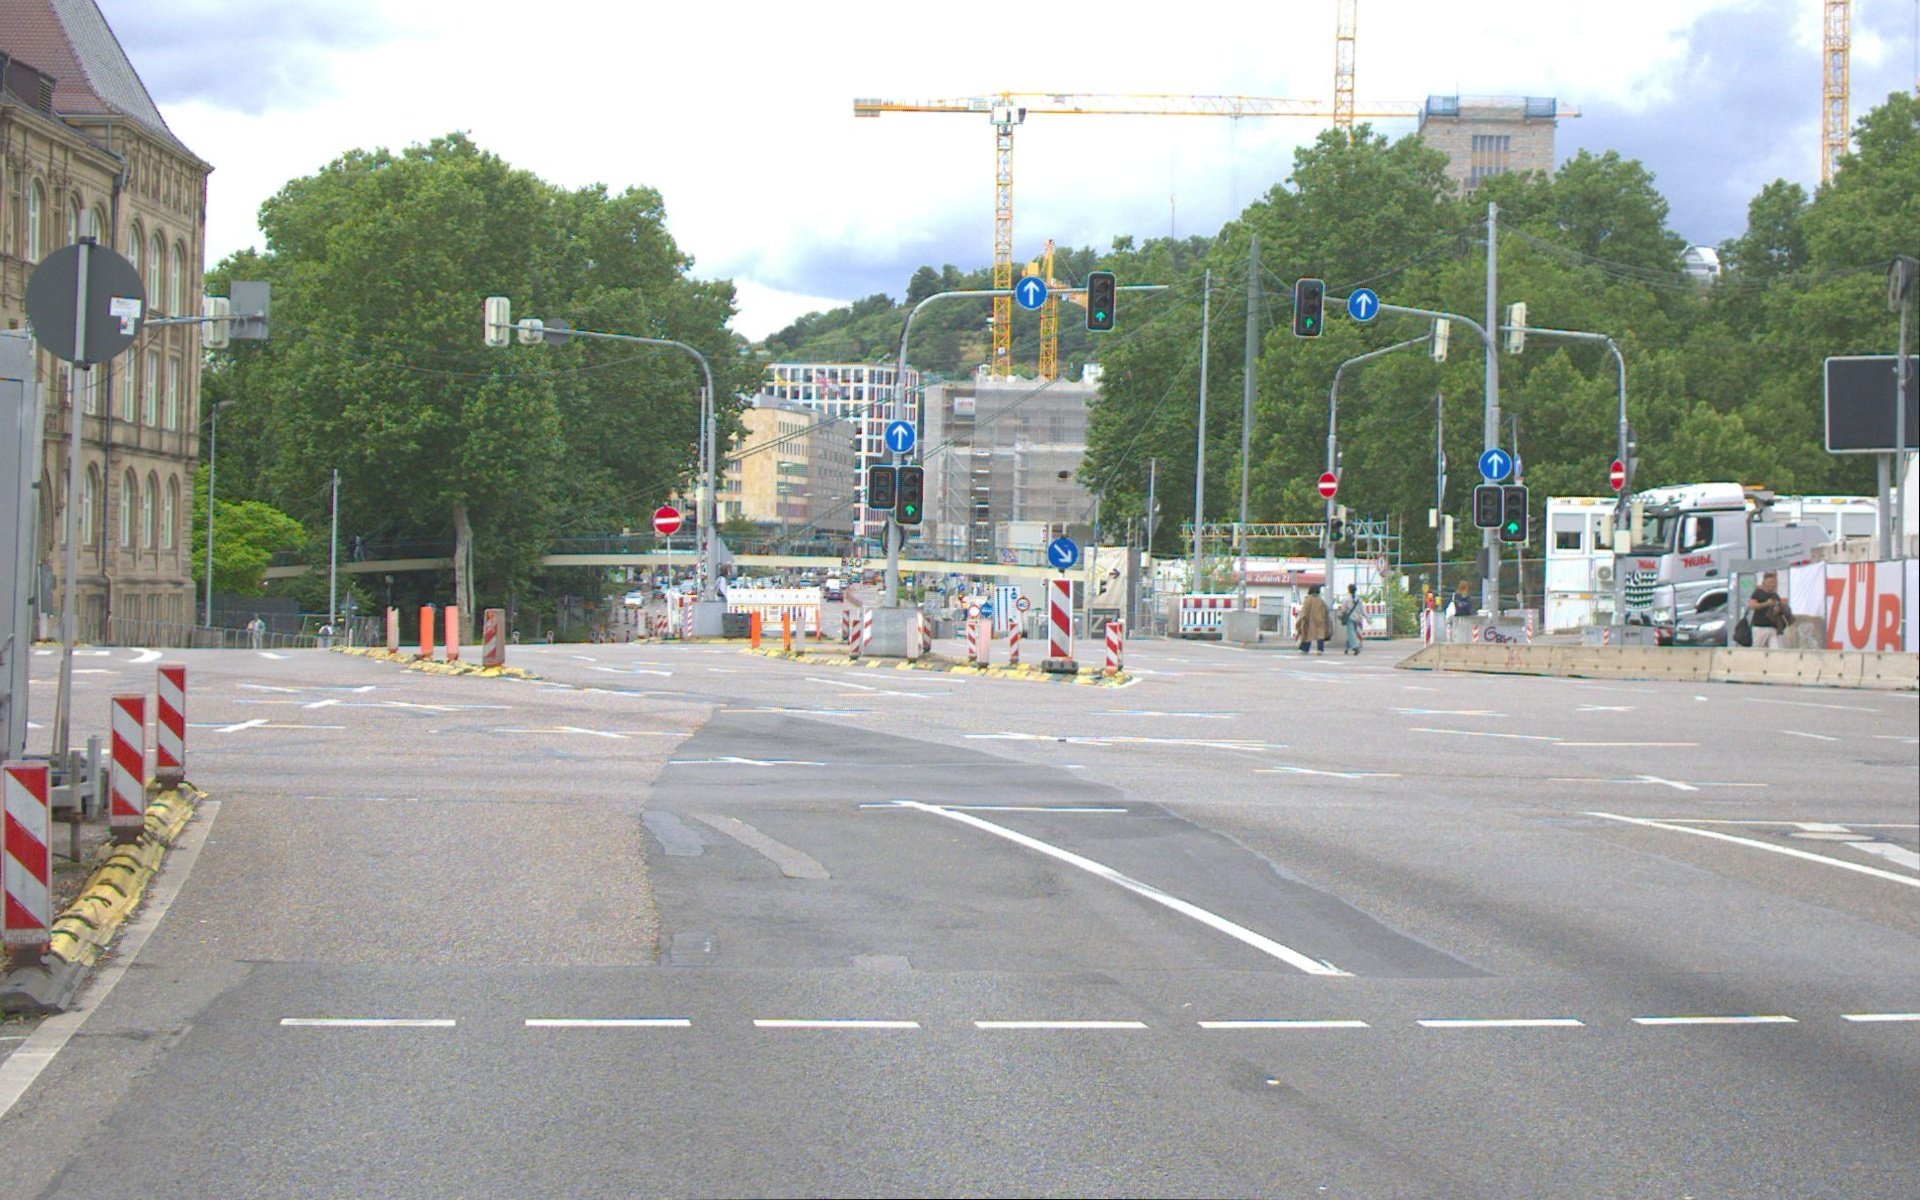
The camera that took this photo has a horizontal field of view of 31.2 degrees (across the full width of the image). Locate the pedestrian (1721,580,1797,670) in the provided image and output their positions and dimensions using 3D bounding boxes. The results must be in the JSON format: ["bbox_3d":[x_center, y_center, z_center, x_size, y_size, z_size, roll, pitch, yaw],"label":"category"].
[{"bbox_3d":[12.629,0.389,54.349,0.796,1.373,0.905,1,1,-15],"label":"pedestrian"}]

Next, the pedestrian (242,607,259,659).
[{"bbox_3d":[-27.814,1.282,134.757,0.524,2.007,0.567,1,1,0],"label":"pedestrian"}]

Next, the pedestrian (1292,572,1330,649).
[{"bbox_3d":[7.740,0.226,75.877,0.729,1.683,0.678,1,1,-1],"label":"pedestrian"}]

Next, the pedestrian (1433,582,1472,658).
[{"bbox_3d":[11.031,0.445,76.958,0.622,1.683,0.710,2,1,29],"label":"pedestrian"}]

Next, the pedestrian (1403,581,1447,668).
[{"bbox_3d":[9.135,0.477,67.550,0.729,1.683,0.678,1,1,-1],"label":"pedestrian"}]

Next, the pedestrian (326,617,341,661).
[{"bbox_3d":[-28.864,1.799,158.376,0.524,2.007,0.567,1,1,0],"label":"pedestrian"}]

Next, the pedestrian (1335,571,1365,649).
[{"bbox_3d":[8.604,0.222,75.900,0.566,1.683,0.472,1,1,-1],"label":"pedestrian"}]

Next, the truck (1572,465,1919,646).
[{"bbox_3d":[21.364,-1.002,82.008,13.022,4.027,3.952,1,1,-20],"label":"truck"}]
